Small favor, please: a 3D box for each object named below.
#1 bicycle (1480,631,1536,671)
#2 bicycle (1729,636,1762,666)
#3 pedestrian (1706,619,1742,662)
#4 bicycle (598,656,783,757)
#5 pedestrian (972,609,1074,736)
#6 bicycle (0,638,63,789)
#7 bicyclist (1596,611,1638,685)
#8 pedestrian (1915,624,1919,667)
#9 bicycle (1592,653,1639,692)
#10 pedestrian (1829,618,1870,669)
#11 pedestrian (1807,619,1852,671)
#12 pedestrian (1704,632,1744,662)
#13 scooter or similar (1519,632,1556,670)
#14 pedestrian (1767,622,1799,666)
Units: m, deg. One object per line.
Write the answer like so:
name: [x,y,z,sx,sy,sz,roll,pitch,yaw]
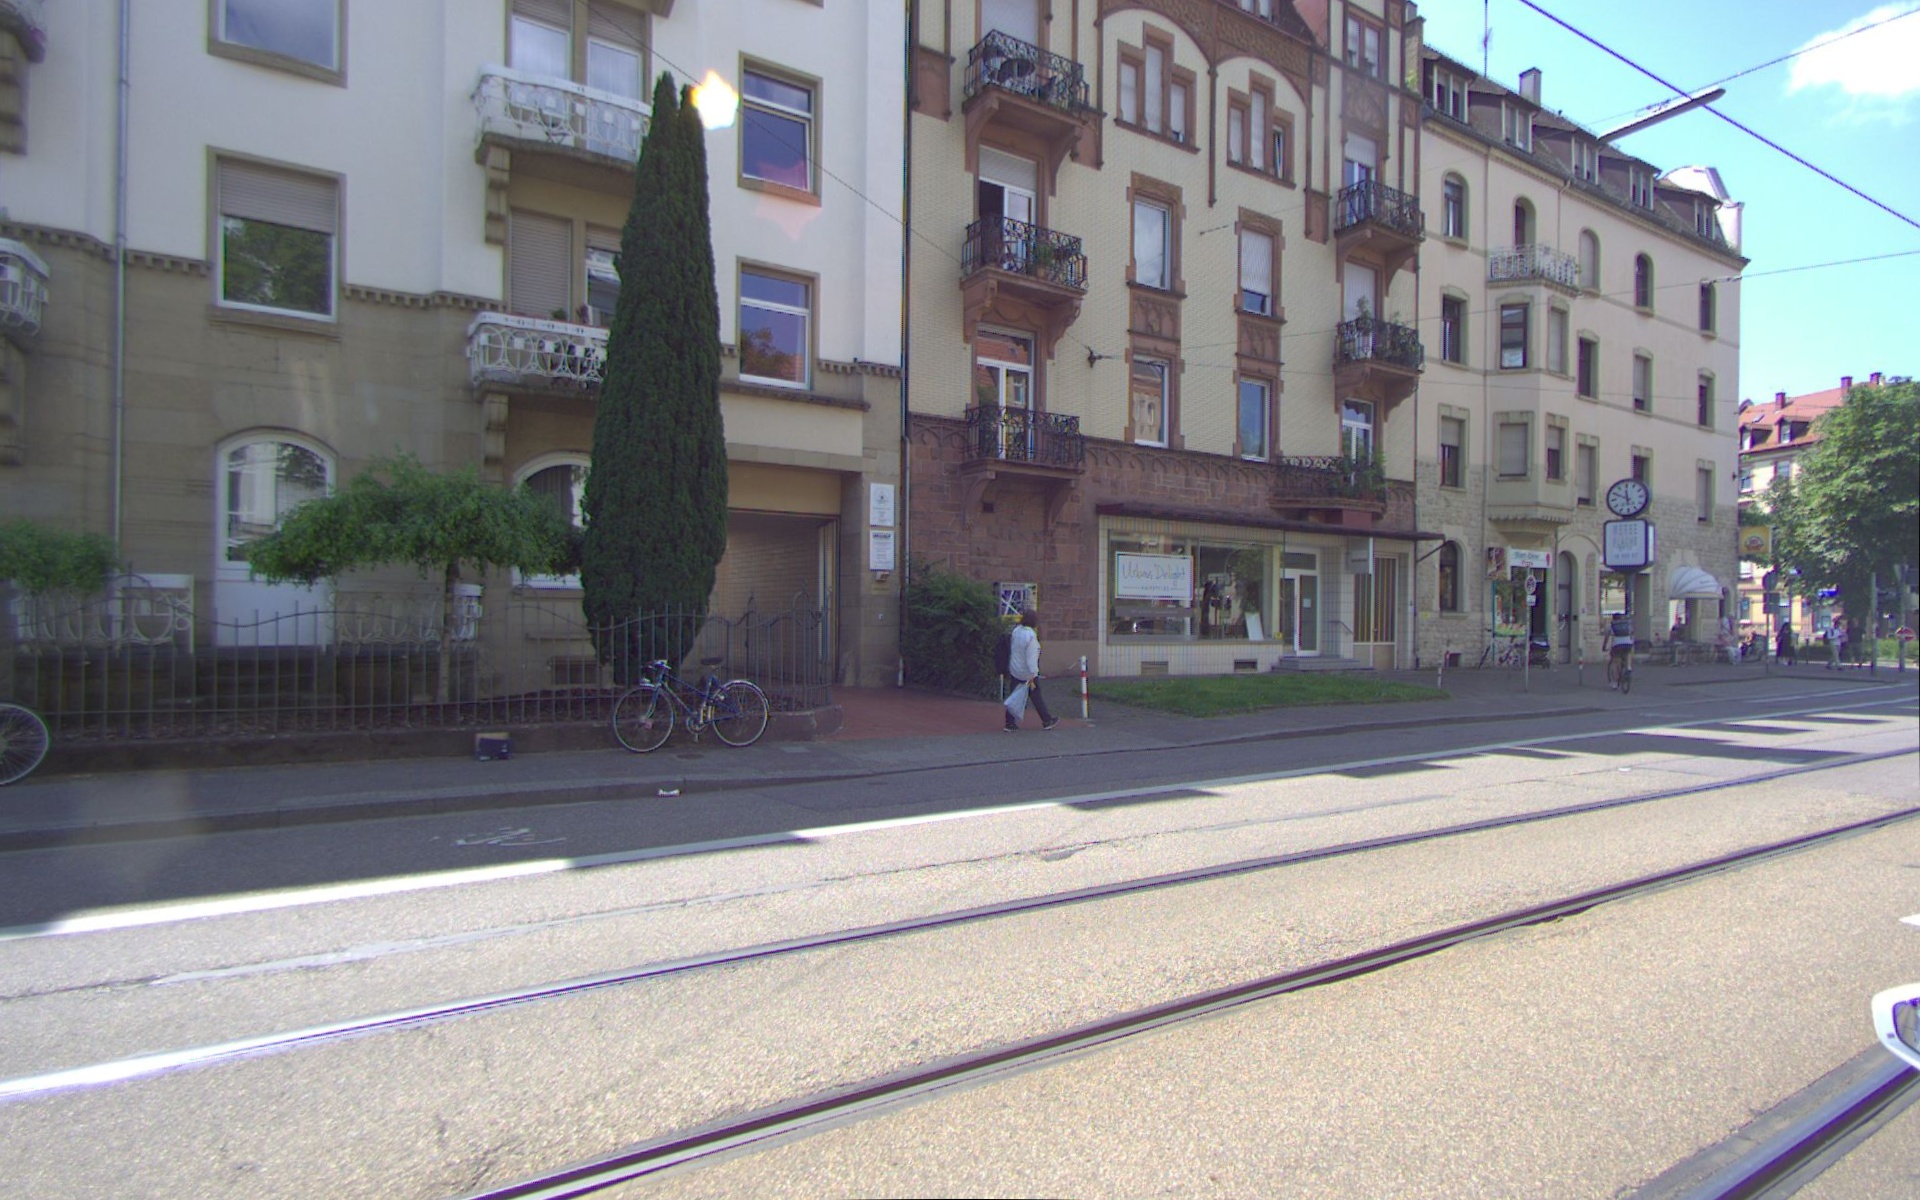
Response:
bicycle: [15.701,1.469,28.790,1.438,1.080,0.370,2,0,-9]
bicycle: [30.643,1.983,39.205,0.534,1.143,1.683,1,-3,21]
pedestrian: [29.123,1.537,38.279,0.801,1.616,0.910,1,-1,-35]
bicycle: [-2.828,1.102,10.638,1.821,0.973,0.408,2,2,-33]
pedestrian: [0.808,0.900,13.006,0.975,1.563,0.894,1,-1,-36]
bicycle: [-7.825,0.847,7.383,1.752,1.079,0.604,1,3,-33]
bicyclist: [15.444,1.111,23.632,0.745,1.685,0.829,2,0,31]
pedestrian: [39.949,1.875,41.260,0.903,1.746,0.838,0,-1,34]
bicycle: [15.413,1.692,23.657,0.741,0.828,1.818,0,-1,27]
pedestrian: [34.001,1.650,38.377,1.152,1.916,0.895,1,-1,-33]
pedestrian: [30.576,1.564,35.333,0.760,1.756,0.862,1,1,0]
pedestrian: [28.013,1.715,36.822,0.873,1.092,0.911,1,-1,-31]
scooter or similar: [17.246,1.520,30.019,0.682,1.058,1.210,2,0,18]
pedestrian: [31.926,1.702,38.949,1.019,1.657,0.852,1,-1,-43]
